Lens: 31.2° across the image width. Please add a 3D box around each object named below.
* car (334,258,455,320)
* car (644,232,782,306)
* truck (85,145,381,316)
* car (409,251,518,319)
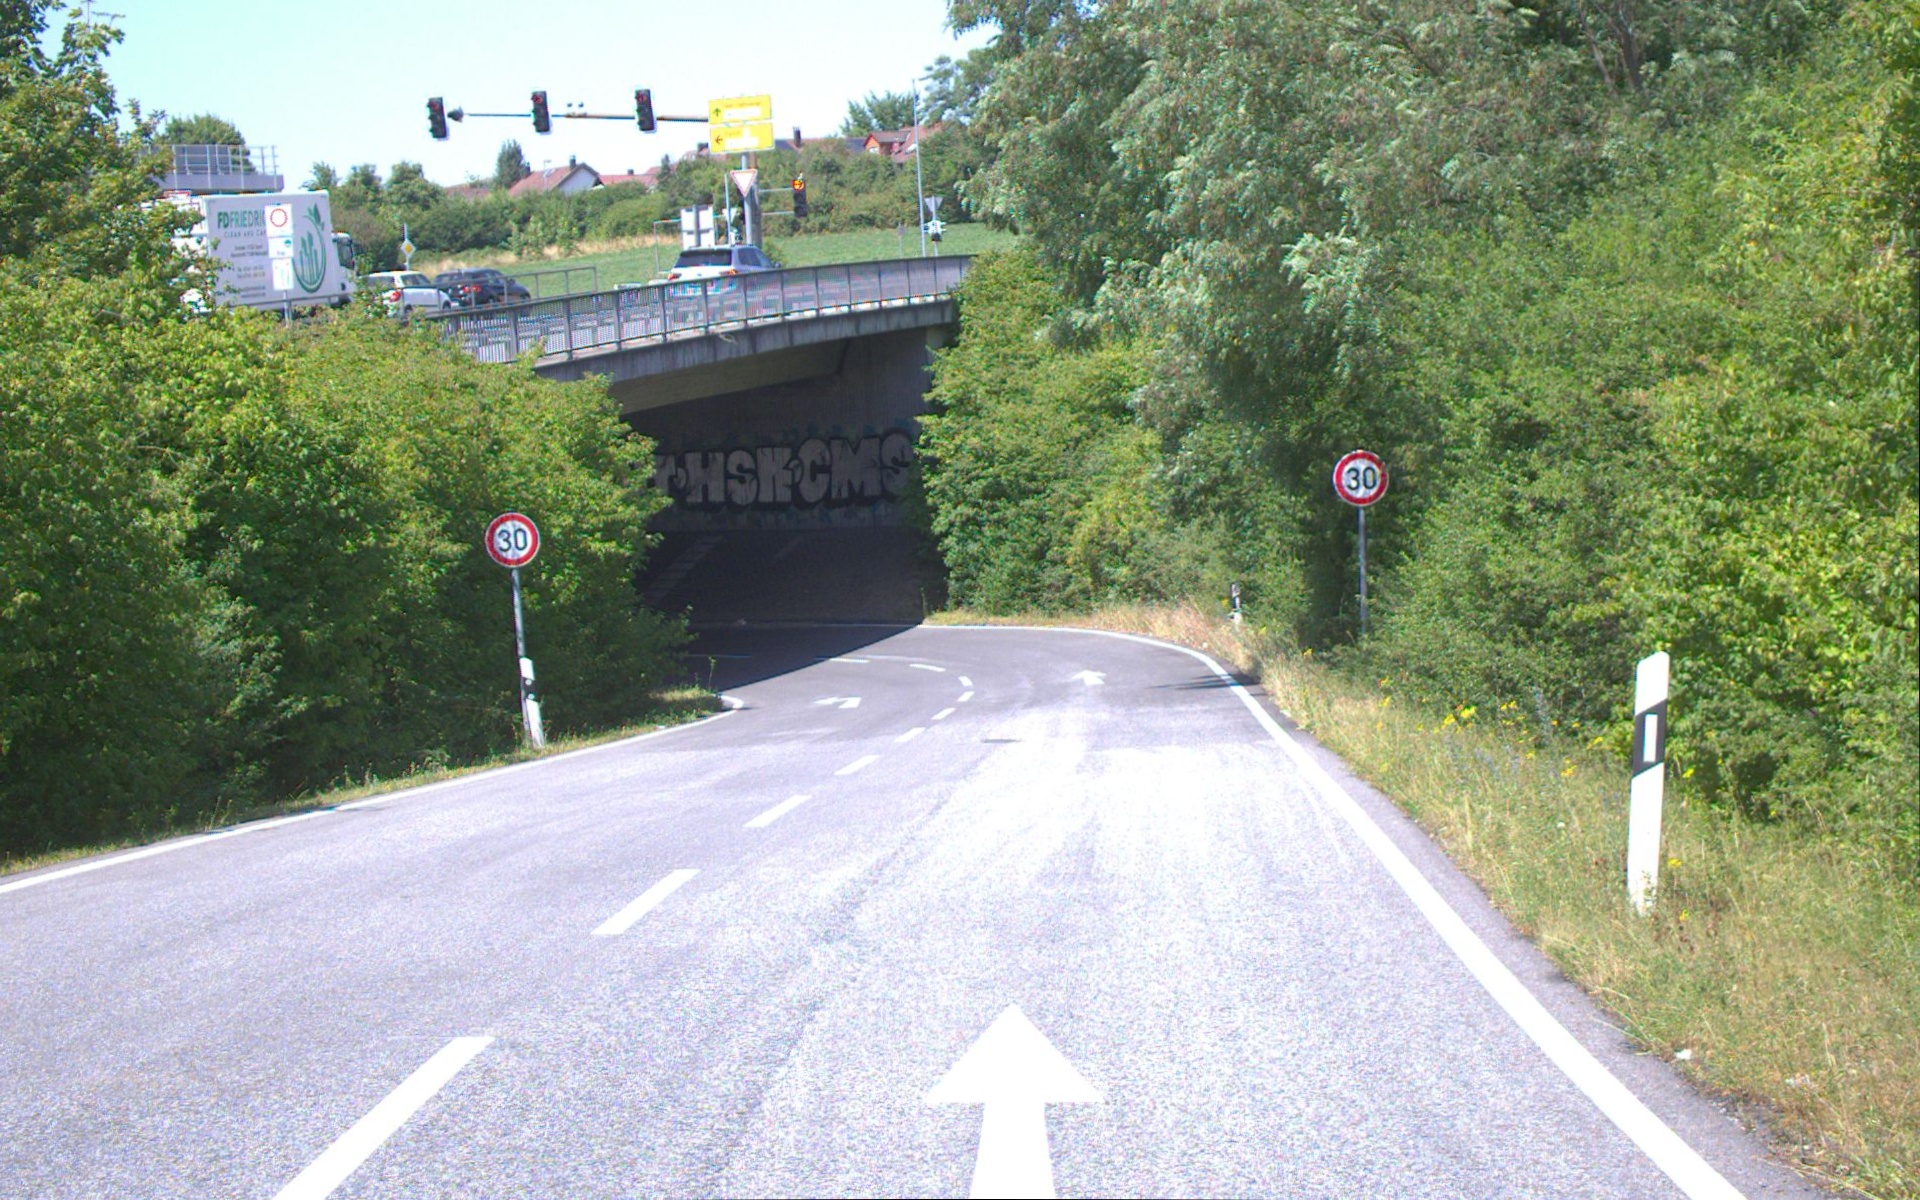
[{"bbox_3d":[-14.797,-8.129,90.167,1.898,1.358,3.999,-1,2,10],"label":"car"},{"bbox_3d":[-5.449,-7.310,76.223,1.994,1.415,3.999,-4,4,11],"label":"car"},{"bbox_3d":[-17.086,-8.656,81.595,3.029,3.576,8.900,-3,4,14],"label":"truck"},{"bbox_3d":[-13.787,-8.749,95.690,1.994,1.612,3.999,-1,2,7],"label":"car"}]
